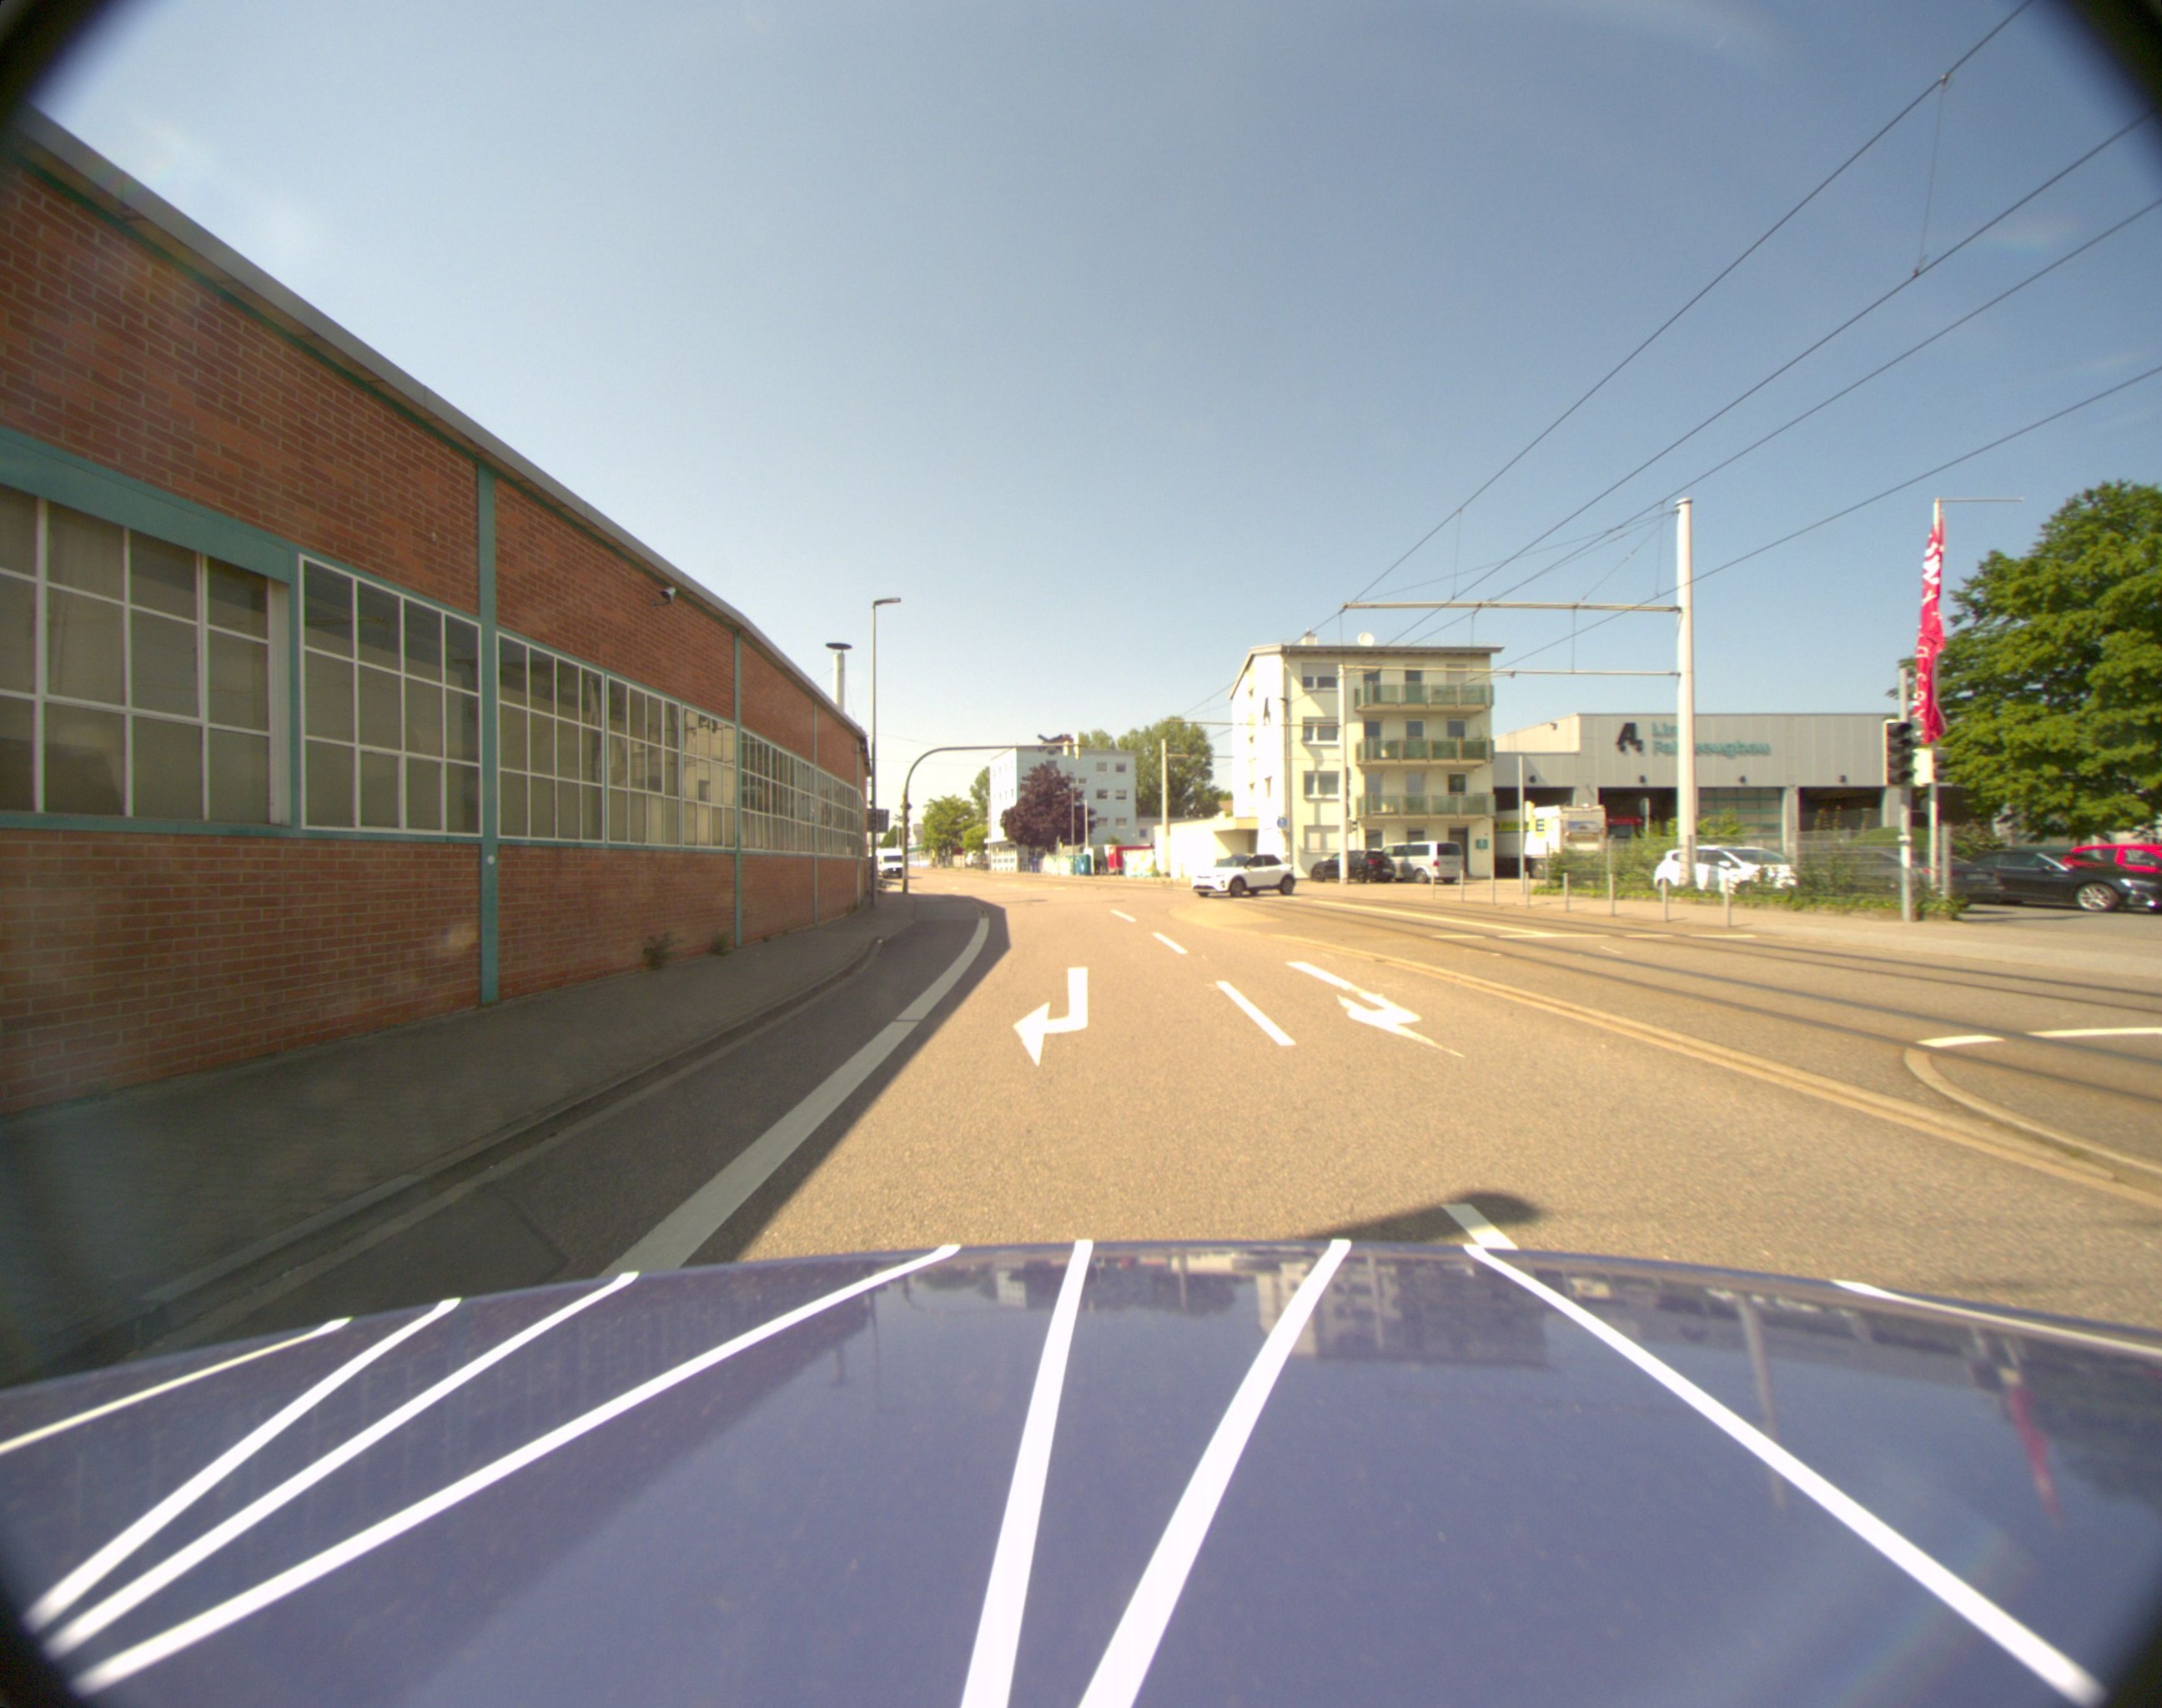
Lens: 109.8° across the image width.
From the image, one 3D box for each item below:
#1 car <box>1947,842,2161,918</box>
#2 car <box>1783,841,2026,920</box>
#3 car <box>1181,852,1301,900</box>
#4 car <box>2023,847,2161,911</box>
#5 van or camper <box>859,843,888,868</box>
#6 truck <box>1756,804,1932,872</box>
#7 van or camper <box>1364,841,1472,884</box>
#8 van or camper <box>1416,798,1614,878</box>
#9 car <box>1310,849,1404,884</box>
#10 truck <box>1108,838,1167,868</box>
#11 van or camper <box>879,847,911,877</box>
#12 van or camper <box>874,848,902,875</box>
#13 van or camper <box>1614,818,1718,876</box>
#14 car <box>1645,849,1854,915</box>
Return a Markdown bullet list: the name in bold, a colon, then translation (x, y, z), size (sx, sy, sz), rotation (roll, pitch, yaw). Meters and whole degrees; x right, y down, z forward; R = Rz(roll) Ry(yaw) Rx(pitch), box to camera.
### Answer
- **car**: translation (23.248, 0.544, 17.797), size (1.854, 1.611, 3.838), rotation (-1, 0, 8)
- **car**: translation (18.855, 0.595, 17.689), size (1.767, 1.611, 3.839), rotation (-1, -1, 8)
- **car**: translation (5.671, 0.728, 26.804), size (4.116, 1.521, 1.733), rotation (-1, 0, -34)
- **car**: translation (27.744, 0.613, 19.690), size (1.856, 1.583, 3.836), rotation (-1, 0, -1)
- **van or camper**: translation (-24.221, 0.203, 88.372), size (2.527, 2.770, 7.103), rotation (-1, 0, -21)
- **truck**: translation (45.598, -0.896, 45.862), size (2.623, 3.759, 7.860), rotation (0, 0, -1)
- **van or camper**: translation (15.803, 0.378, 35.874), size (2.002, 1.897, 4.547), rotation (0, 0, -22)
- **van or camper**: translation (23.457, -0.598, 42.337), size (2.781, 3.669, 11.633), rotation (-1, -2, -9)
- **car**: translation (12.965, 0.564, 35.884), size (1.883, 1.512, 3.965), rotation (-1, 0, -27)
- **truck**: translation (5.056, -0.066, 68.504), size (4.836, 2.611, 2.186), rotation (-1, 0, -15)
- **van or camper**: translation (-16.421, 0.677, 66.954), size (2.046, 2.519, 5.859), rotation (-1, 0, -20)
- **van or camper**: translation (-18.968, 0.691, 74.617), size (2.046, 2.519, 5.572), rotation (-1, 0, -20)
- **van or camper**: translation (34.274, -0.380, 44.723), size (1.999, 3.186, 5.058), rotation (-1, -1, -4)
- **car**: translation (16.301, 0.605, 18.842), size (1.712, 1.425, 3.954), rotation (-1, 1, 0)
